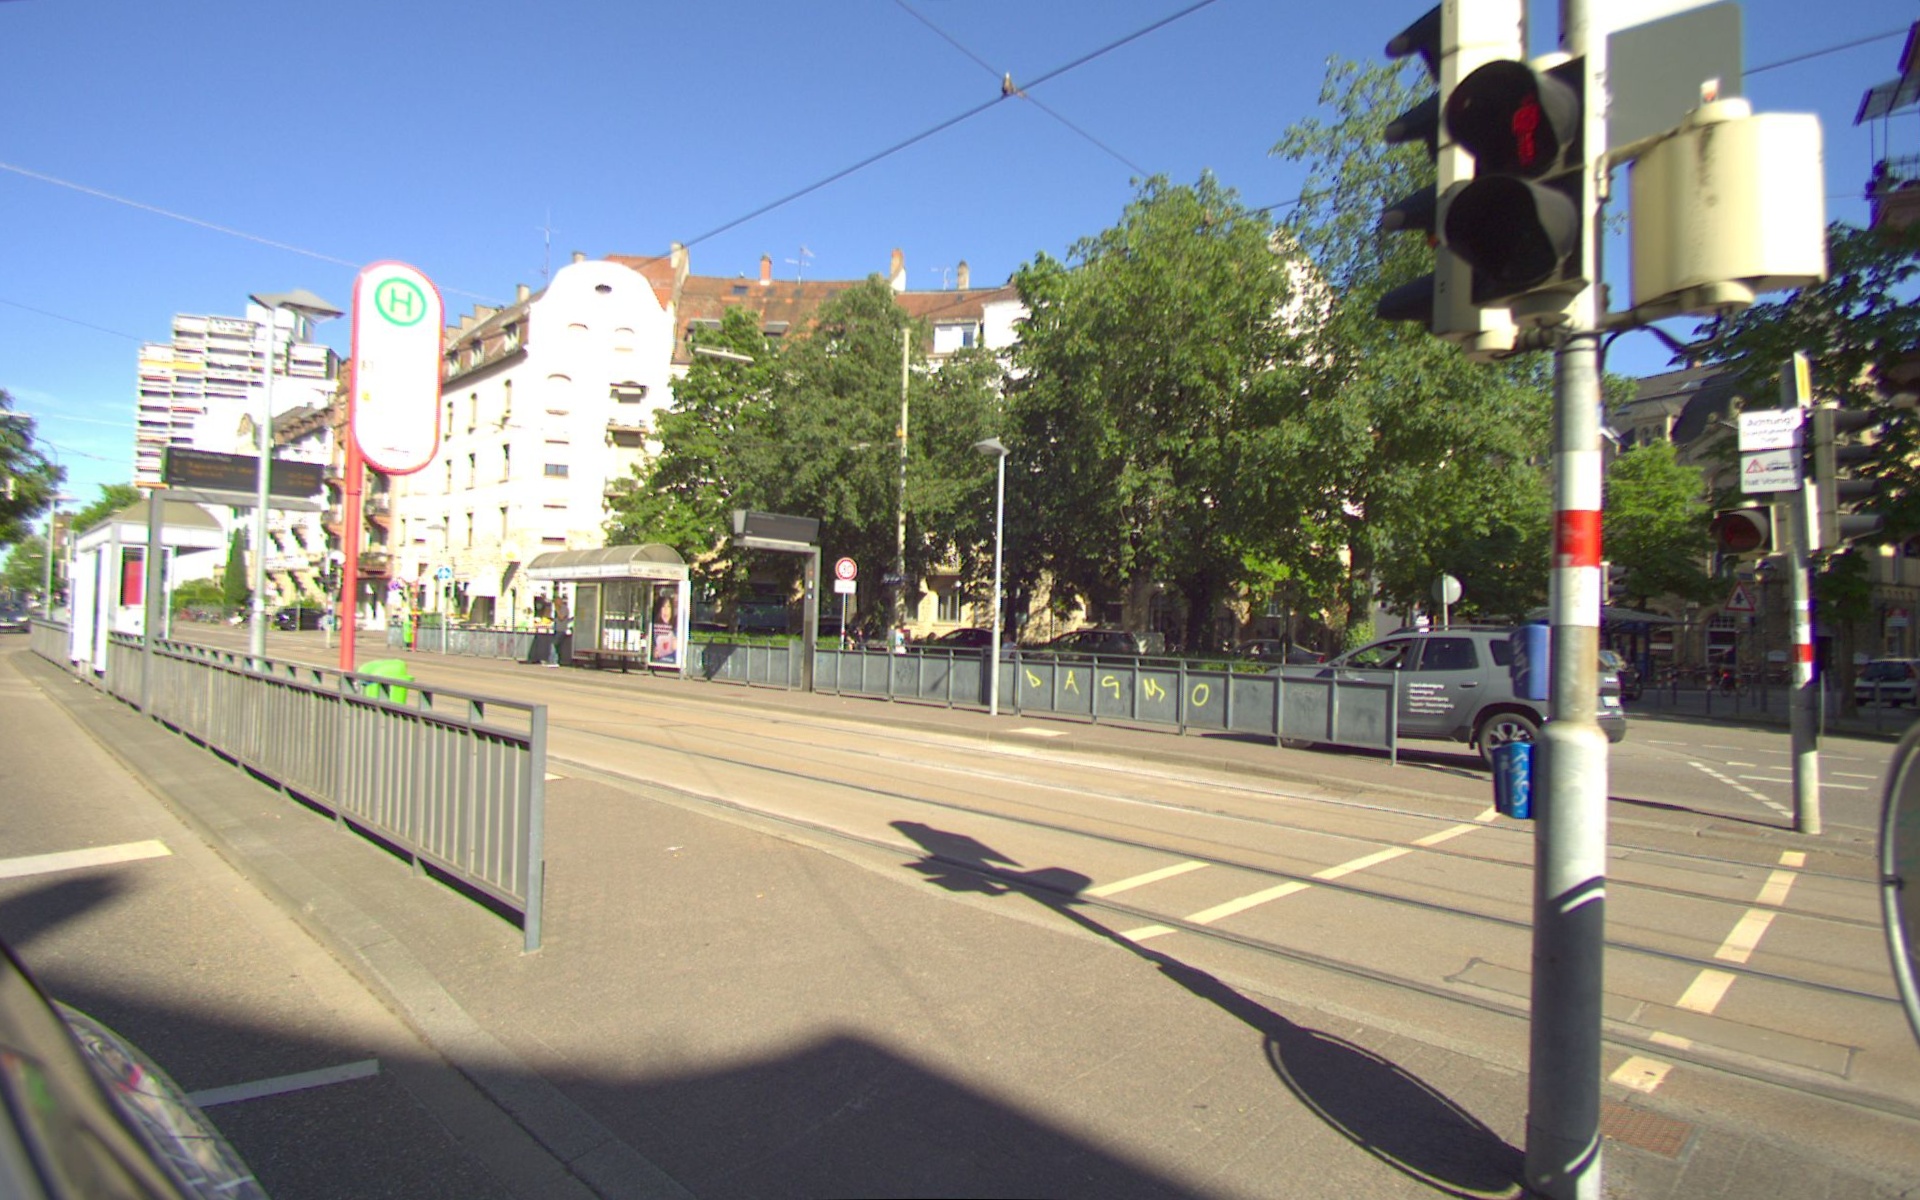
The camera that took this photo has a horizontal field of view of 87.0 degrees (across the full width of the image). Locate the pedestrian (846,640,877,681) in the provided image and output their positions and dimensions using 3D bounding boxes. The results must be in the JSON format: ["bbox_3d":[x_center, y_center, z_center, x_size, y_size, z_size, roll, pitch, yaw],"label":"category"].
[{"bbox_3d":[-3.166,1.928,32.514,0.724,1.291,0.650,-1,-1,45],"label":"pedestrian"}]

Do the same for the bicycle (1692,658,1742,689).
[{"bbox_3d":[25.201,2.436,33.706,1.522,1.000,0.576,1,-1,-20],"label":"bicycle"}]

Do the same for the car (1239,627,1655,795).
[{"bbox_3d":[5.880,1.244,12.525,4.265,1.630,1.876,0,-4,43],"label":"car"}]

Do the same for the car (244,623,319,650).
[{"bbox_3d":[-46.286,2.467,69.082,1.817,1.600,3.836,5,2,39],"label":"car"}]

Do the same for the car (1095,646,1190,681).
[{"bbox_3d":[6.666,2.304,37.028,3.139,1.104,1.451,0,-1,36],"label":"car"}]

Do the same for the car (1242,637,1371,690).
[{"bbox_3d":[11.679,2.125,34.150,3.991,1.554,1.726,2,-3,23],"label":"car"}]

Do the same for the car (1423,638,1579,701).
[{"bbox_3d":[18.125,2.283,33.910,4.773,1.957,1.931,1,-1,-21],"label":"car"}]

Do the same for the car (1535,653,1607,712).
[{"bbox_3d":[17.441,2.290,28.820,1.575,1.453,3.416,0,-1,34],"label":"car"}]

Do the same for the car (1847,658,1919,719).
[{"bbox_3d":[28.515,2.600,30.223,3.396,1.613,1.720,1,-1,-23],"label":"car"}]

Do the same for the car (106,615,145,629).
[{"bbox_3d":[-87.529,2.347,106.218,1.546,1.431,3.225,1,-1,-3],"label":"car"}]

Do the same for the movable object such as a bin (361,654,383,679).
[{"bbox_3d":[-33.224,3.752,57.196,0.747,1.318,0.867,0,-1,39],"label":"movable object such as a bin"}]

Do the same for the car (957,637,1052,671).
[{"bbox_3d":[1.747,2.111,40.070,3.444,1.225,1.512,0,-1,30],"label":"car"}]

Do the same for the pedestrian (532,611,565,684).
[{"bbox_3d":[-10.421,1.198,25.624,0.673,1.798,0.459,-1,-3,43],"label":"pedestrian"}]

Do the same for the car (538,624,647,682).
[{"bbox_3d":[-11.095,1.571,30.409,1.670,1.552,3.803,7,-5,-42],"label":"car"}]

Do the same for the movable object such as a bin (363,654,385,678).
[{"bbox_3d":[-32.554,3.661,56.214,0.747,1.318,0.867,0,-1,39],"label":"movable object such as a bin"}]

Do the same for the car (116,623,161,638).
[{"bbox_3d":[-84.042,3.128,103.568,3.169,1.431,1.573,1,-1,-13],"label":"car"}]
